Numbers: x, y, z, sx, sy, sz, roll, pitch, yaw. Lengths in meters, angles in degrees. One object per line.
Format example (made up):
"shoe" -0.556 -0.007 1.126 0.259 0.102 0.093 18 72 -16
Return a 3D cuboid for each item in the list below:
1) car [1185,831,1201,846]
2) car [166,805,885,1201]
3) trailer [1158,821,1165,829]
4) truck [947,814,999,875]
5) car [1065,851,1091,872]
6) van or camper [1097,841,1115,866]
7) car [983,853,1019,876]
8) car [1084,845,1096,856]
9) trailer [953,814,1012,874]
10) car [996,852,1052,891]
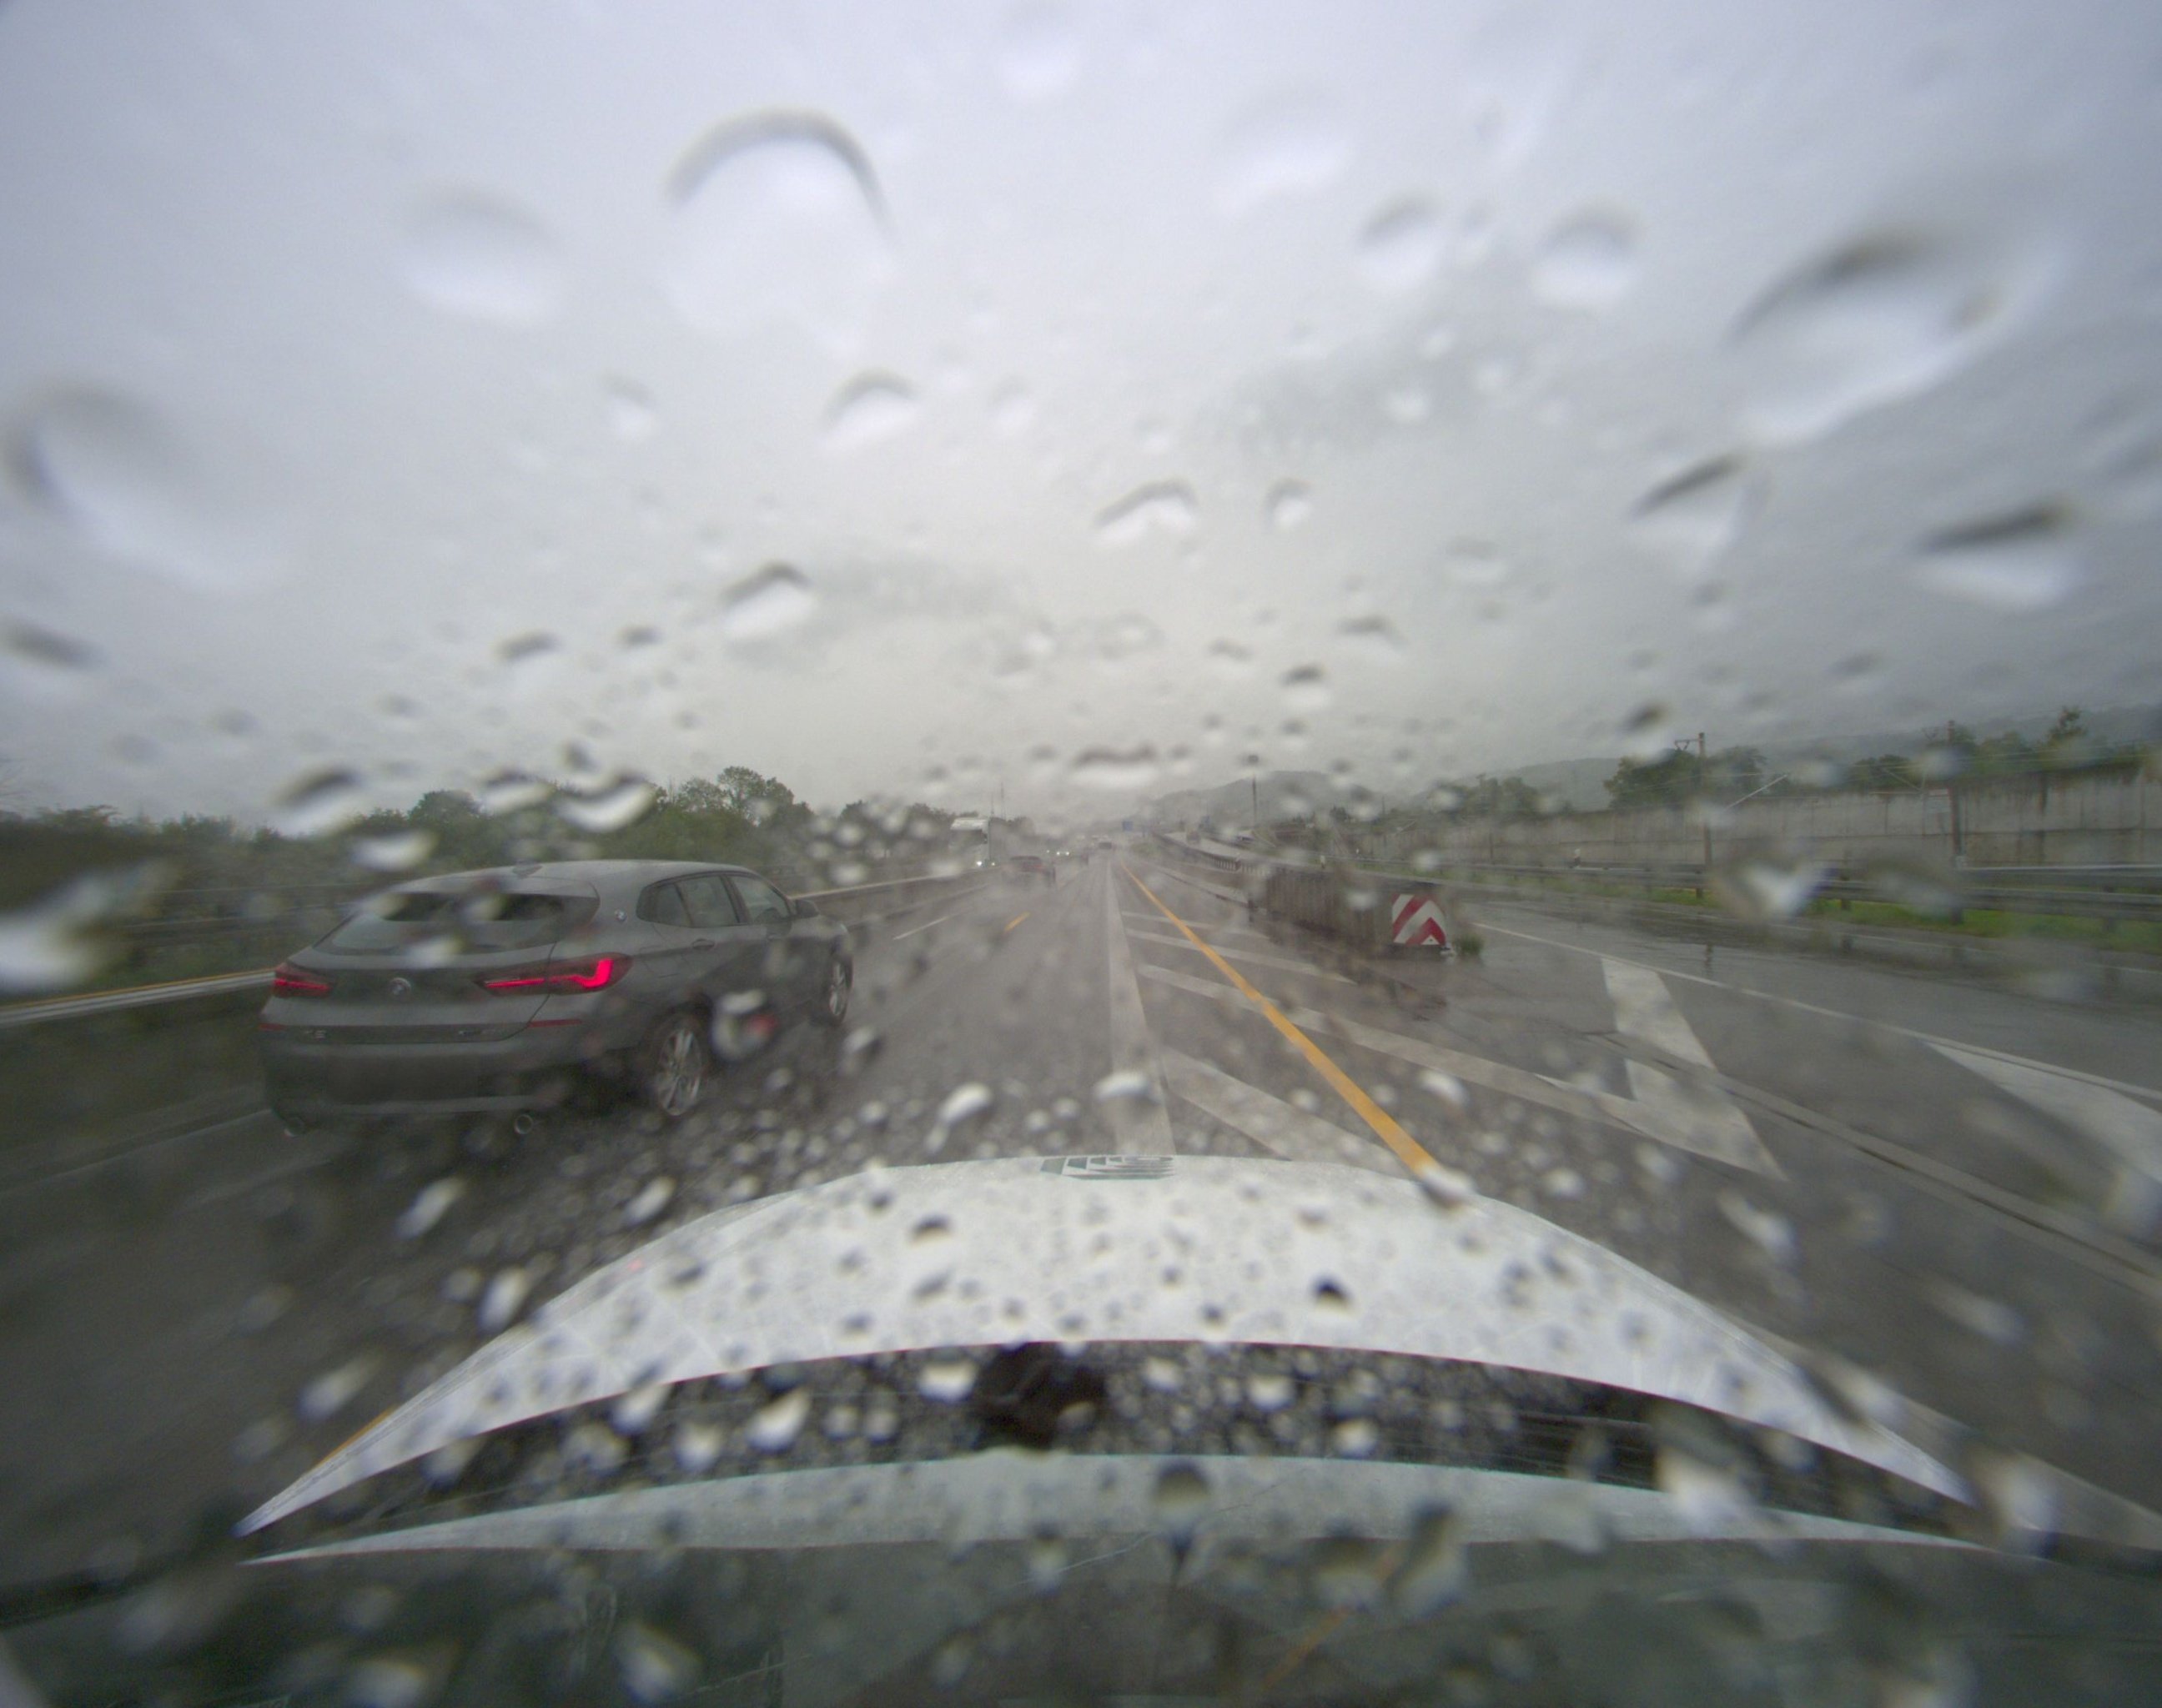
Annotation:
"car" 17.283 -2.383 125.379 1.986 2.142 4.001 -1 0 1
"car" -2.940 0.647 5.866 1.694 1.598 4.846 -3 -1 1
"trailer" 26.197 -9.384 264.612 1.984 2.106 13.787 -1 0 5
"truck" -7.892 -0.648 60.423 2.698 4.277 6.752 -1 0 2
"car" -0.232 0.571 65.084 1.837 1.491 4.263 -4 1 1
"van or camper" 2.923 -0.052 94.339 1.989 2.777 4.051 -1 0 1
"car" -5.244 0.689 53.928 1.886 1.484 4.002 0 0 2
"car" 1.267 -0.506 117.420 1.561 1.480 2.822 -4 -1 1
"trailer" -7.699 -0.703 65.453 2.676 4.277 13.077 -1 0 2
"car" -2.266 0.681 33.344 1.837 1.491 4.263 -1 0 1
